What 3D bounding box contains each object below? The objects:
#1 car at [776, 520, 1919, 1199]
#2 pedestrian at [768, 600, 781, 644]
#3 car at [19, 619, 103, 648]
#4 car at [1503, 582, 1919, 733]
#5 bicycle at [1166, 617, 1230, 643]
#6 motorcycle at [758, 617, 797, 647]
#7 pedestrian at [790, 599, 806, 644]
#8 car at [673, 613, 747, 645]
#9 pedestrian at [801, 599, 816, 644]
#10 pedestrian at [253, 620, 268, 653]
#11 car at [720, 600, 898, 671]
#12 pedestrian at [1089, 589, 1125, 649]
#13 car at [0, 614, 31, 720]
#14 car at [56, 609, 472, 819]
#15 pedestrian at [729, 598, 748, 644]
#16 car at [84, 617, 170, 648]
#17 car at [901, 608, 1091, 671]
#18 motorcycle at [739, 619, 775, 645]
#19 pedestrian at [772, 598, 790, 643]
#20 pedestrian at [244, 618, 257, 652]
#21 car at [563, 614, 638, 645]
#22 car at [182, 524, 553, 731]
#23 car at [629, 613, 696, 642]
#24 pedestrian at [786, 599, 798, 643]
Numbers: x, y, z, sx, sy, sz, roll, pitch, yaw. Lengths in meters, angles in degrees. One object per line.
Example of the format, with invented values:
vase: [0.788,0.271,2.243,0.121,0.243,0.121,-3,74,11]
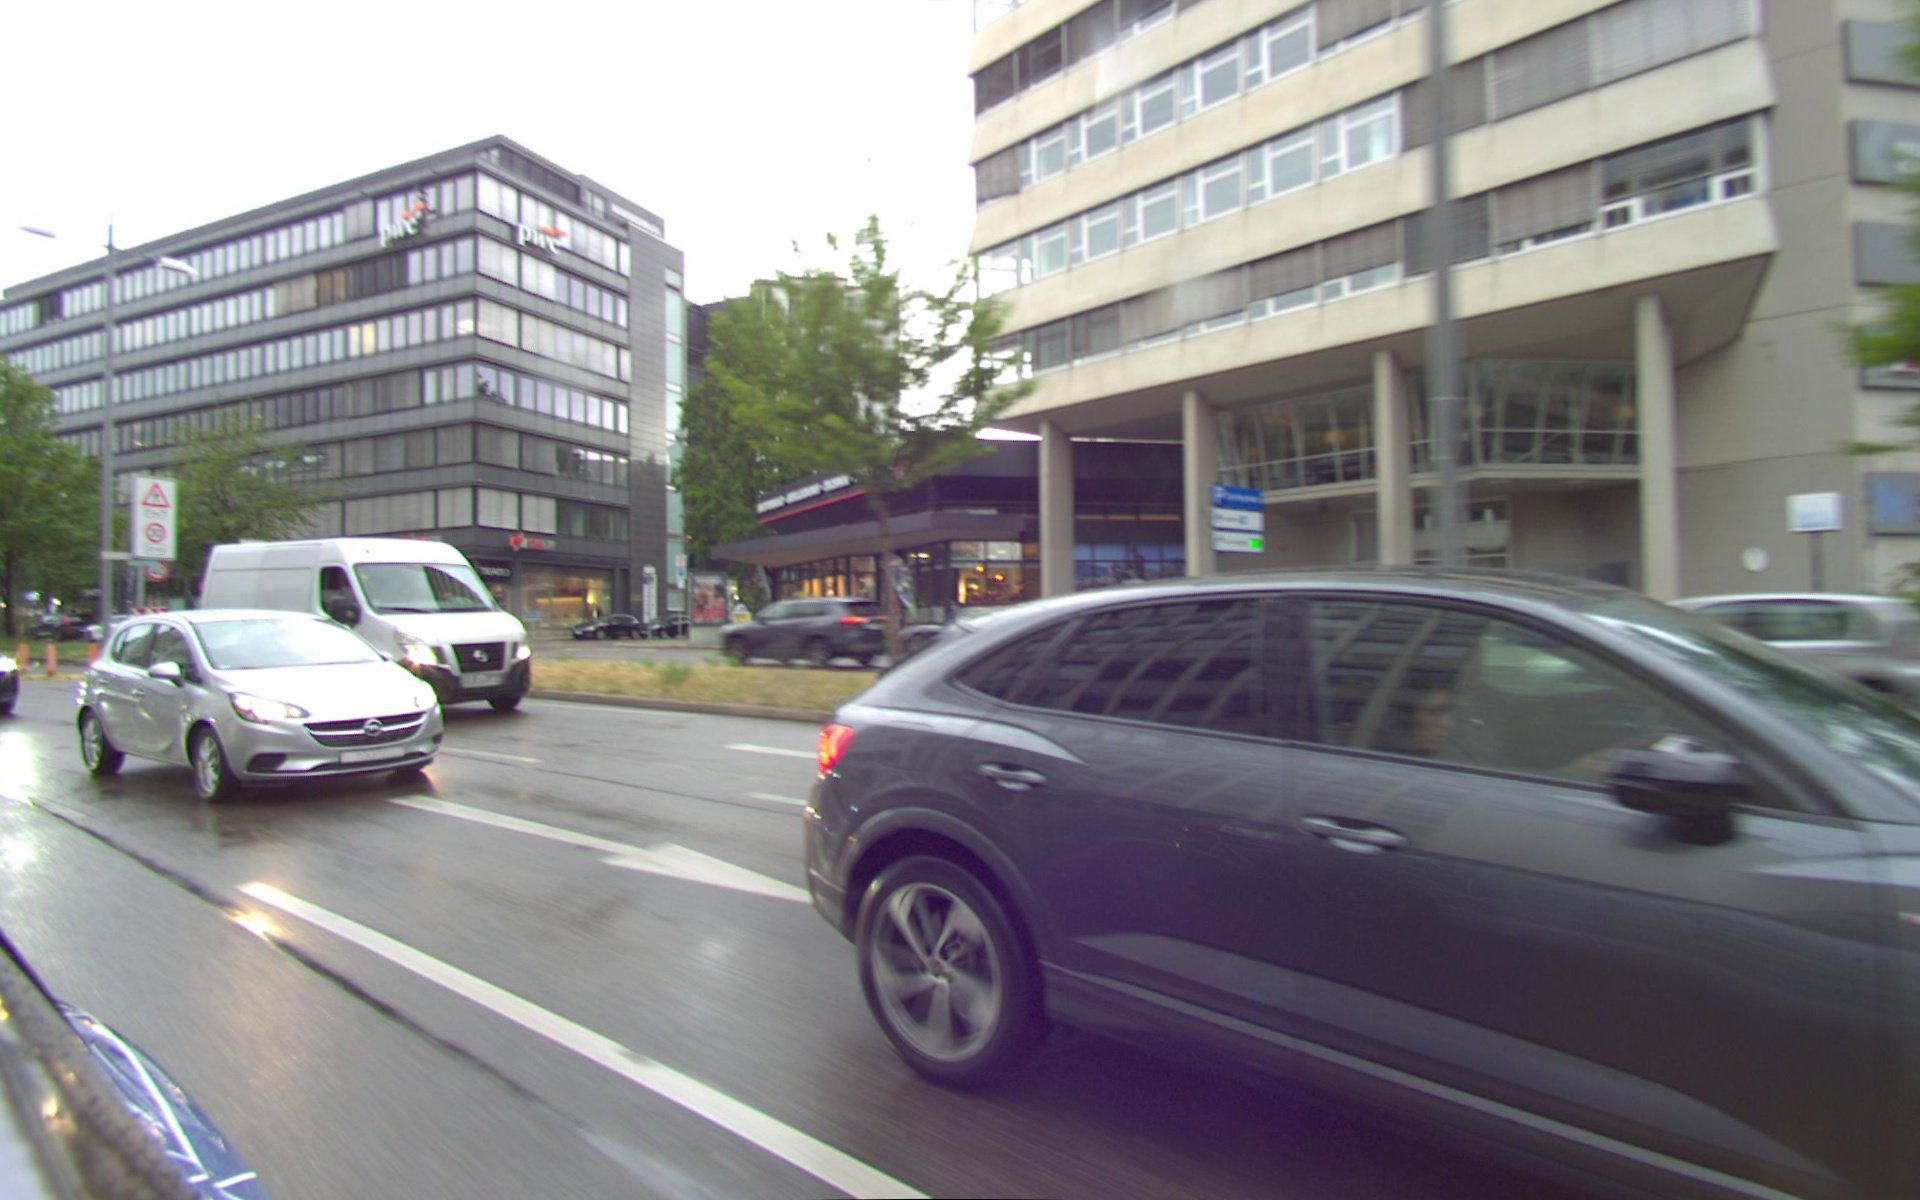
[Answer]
car: [1.539,0.637,2.693,4.268,1.533,1.632,-1,0,40]
pedestrian: [-7.517,0.884,40.976,0.323,1.784,0.438,-1,-1,-43]
car: [-49.601,1.862,55.817,4.083,1.518,1.984,-1,-1,24]
car: [8.300,0.525,11.076,3.869,1.396,1.671,0,1,44]
bicycle: [8.561,1.070,36.465,2.182,0.866,0.455,0,0,29]
motorcycle: [-8.025,1.406,44.535,1.642,1.242,0.361,-1,0,-11]
pedestrian: [-6.505,0.873,40.706,0.422,1.784,0.470,-1,-1,-42]
car: [-13.065,1.501,53.091,1.839,1.596,3.732,-1,0,25]
pedestrian: [-6.159,0.866,41.148,0.422,1.784,0.470,-1,-1,-42]
pedestrian: [-42.769,2.235,61.881,0.458,2.029,0.571,-1,0,23]
car: [-3.623,0.814,24.037,4.138,1.547,1.631,-1,0,32]
pedestrian: [4.254,0.543,29.366,0.763,1.696,0.670,-1,-1,43]
car: [-15.247,0.966,14.389,4.076,1.446,1.760,-1,0,28]
car: [-6.169,0.839,8.861,3.863,1.446,1.635,-1,0,33]
pedestrian: [-8.696,0.832,39.750,0.529,1.784,0.550,-1,-1,-42]
car: [-43.744,1.710,53.148,3.976,1.518,1.984,-1,-1,24]
car: [0.830,0.902,24.809,4.404,1.389,1.845,0,1,37]
motorcycle: [-9.506,1.497,47.345,1.598,1.153,0.361,-1,0,-20]
pedestrian: [-7.070,0.801,39.942,0.548,1.784,0.405,-1,-1,-42]
pedestrian: [-42.267,2.097,60.259,0.295,2.029,0.537,-1,0,23]
car: [-20.041,1.618,56.522,1.839,1.596,3.732,-1,0,25]
car: [-8.388,0.364,14.186,5.455,2.459,1.934,-1,0,29]
car: [-17.915,1.650,61.090,1.839,1.596,3.732,-1,0,25]
pedestrian: [-6.950,0.870,41.767,0.323,1.784,0.358,-1,-1,-42]
